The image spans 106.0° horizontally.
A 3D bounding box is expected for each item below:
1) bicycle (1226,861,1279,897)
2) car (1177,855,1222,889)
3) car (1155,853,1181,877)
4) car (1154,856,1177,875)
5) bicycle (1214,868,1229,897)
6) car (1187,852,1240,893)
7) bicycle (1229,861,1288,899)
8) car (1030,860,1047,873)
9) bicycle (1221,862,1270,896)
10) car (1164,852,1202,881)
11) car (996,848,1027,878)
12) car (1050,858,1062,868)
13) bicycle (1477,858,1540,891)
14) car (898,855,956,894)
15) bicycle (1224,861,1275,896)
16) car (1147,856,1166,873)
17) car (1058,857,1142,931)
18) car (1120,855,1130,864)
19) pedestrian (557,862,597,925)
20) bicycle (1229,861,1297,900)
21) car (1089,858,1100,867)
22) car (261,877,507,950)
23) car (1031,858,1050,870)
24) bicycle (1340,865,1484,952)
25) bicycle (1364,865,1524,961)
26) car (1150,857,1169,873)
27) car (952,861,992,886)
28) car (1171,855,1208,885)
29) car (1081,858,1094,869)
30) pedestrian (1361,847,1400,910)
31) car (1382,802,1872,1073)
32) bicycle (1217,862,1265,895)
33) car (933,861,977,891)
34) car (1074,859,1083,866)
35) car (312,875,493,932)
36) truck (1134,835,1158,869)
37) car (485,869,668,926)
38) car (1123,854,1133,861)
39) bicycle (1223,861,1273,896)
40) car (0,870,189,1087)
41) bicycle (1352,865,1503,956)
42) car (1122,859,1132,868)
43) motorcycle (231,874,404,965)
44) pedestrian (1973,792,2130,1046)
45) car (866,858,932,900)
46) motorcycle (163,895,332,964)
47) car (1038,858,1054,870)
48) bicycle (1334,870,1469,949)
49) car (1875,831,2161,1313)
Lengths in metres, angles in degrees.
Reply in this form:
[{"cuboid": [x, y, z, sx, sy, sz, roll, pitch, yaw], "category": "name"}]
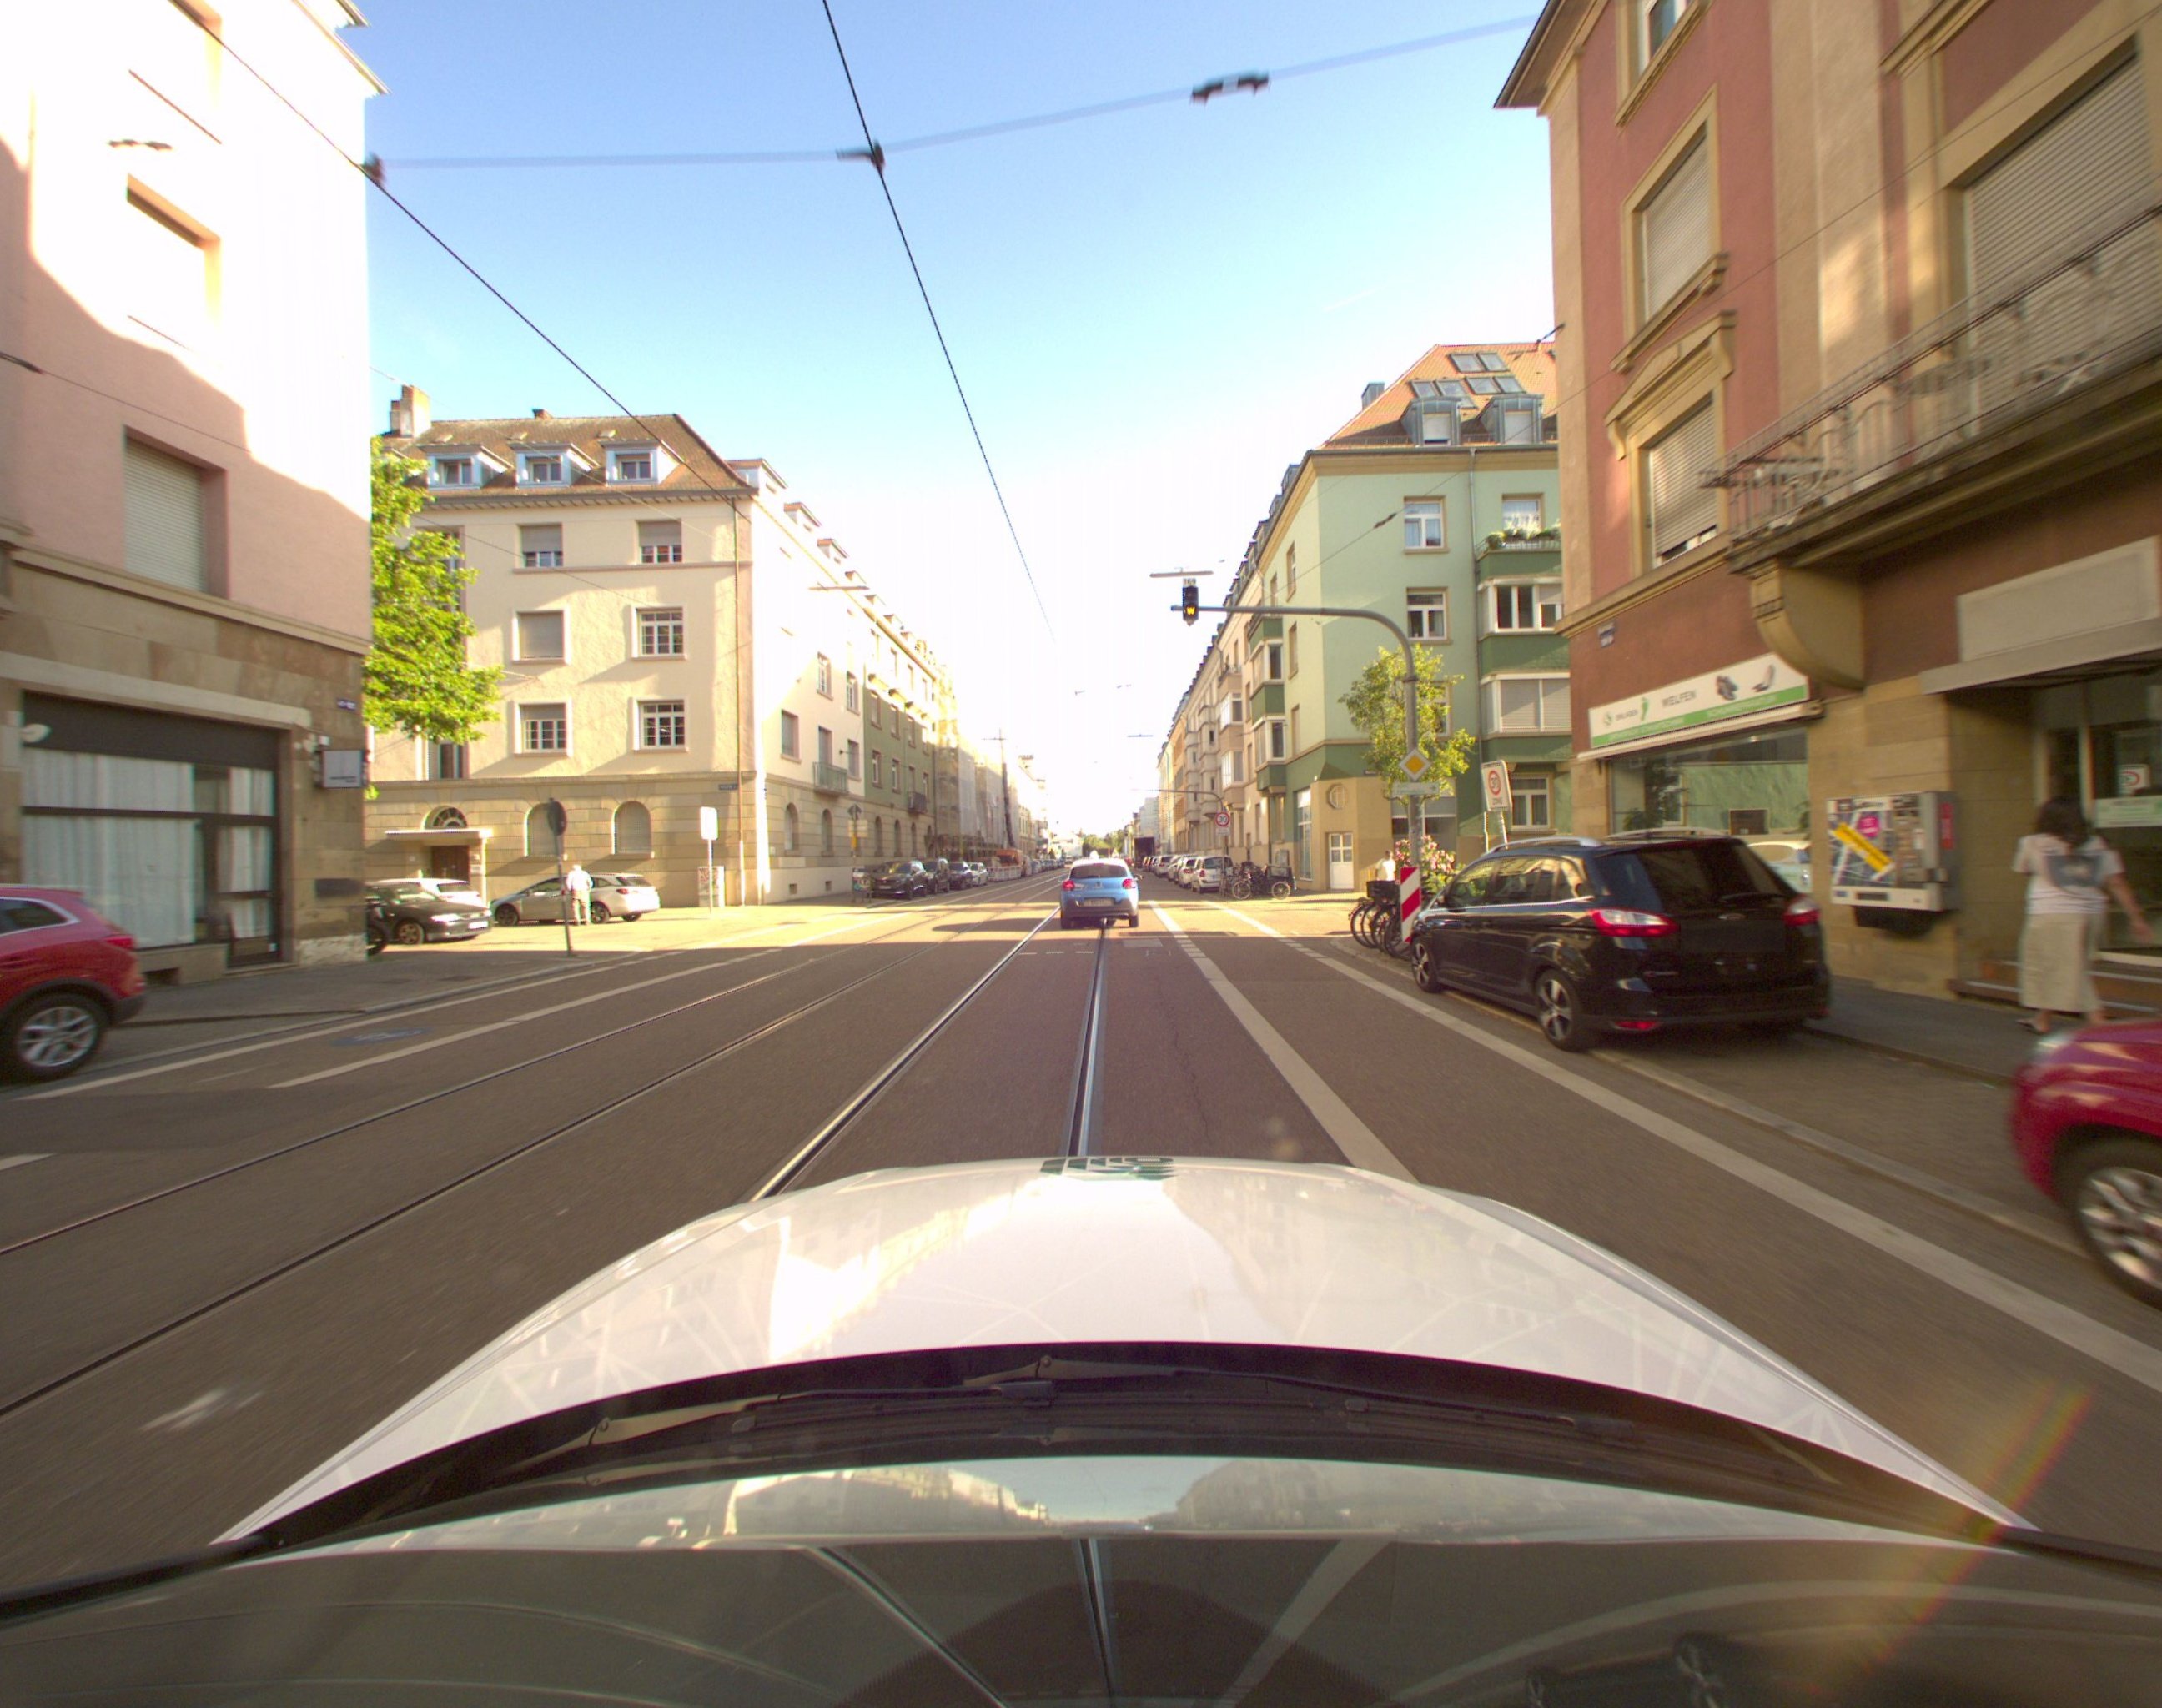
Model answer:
[{"cuboid": [6.162, 0.894, 29.276, 1.716, 1.154, 0.469, -5, -1, 2], "category": "bicycle"}, {"cuboid": [5.854, 0.854, 40.802, 1.776, 1.576, 4.329, -2, 0, 2], "category": "car"}, {"cuboid": [6.848, 0.841, 64.165, 1.723, 1.827, 4.689, -2, 0, 3], "category": "car"}, {"cuboid": [7.236, 0.965, 69.939, 1.715, 1.487, 4.224, -2, 0, 3], "category": "car"}, {"cuboid": [5.216, 1.044, 30.331, 0.351, 1.044, 1.730, -1, 0, 4], "category": "bicycle"}, {"cuboid": [5.667, 0.751, 35.202, 1.776, 1.632, 4.002, -2, 0, 2], "category": "car"}, {"cuboid": [6.096, 0.897, 28.039, 1.835, 1.154, 0.469, -5, -1, 2], "category": "bicycle"}, {"cuboid": [-5.359, 1.570, 103.283, 1.707, 1.594, 4.269, -2, 0, 3], "category": "car"}, {"cuboid": [6.280, 0.935, 31.123, 1.716, 1.154, 0.469, -5, -1, 2], "category": "bicycle"}, {"cuboid": [6.477, 0.791, 52.023, 1.650, 1.752, 4.599, -2, 0, -2], "category": "car"}, {"cuboid": [-5.940, 0.749, 70.111, 2.137, 2.475, 4.979, -2, 0, 0], "category": "car"}, {"cuboid": [-4.199, 1.540, 137.063, 1.819, 1.632, 3.907, -2, 0, 2], "category": "car"}, {"cuboid": [14.478, 0.698, 27.605, 1.889, 1.063, 0.455, -1, 0, -1], "category": "bicycle"}, {"cuboid": [-7.701, 0.979, 41.180, 1.776, 1.816, 4.532, 1, 0, 3], "category": "car"}, {"cuboid": [6.167, 0.896, 29.824, 1.716, 1.154, 0.469, -5, -1, 2], "category": "bicycle"}, {"cuboid": [7.794, 1.079, 84.388, 1.657, 1.647, 4.224, -2, 0, 3], "category": "car"}, {"cuboid": [0.488, 0.834, 18.869, 1.728, 1.507, 3.995, 1, 0, 2], "category": "car"}, {"cuboid": [10.709, 1.318, 198.568, 2.211, 2.284, 4.086, -2, 0, 2], "category": "car"}, {"cuboid": [-13.912, 1.079, 22.479, 0.604, 1.712, 0.732, -1, 0, 2], "category": "pedestrian"}, {"cuboid": [6.089, 0.882, 27.331, 2.078, 1.154, 0.849, -4, 0, 2], "category": "bicycle"}, {"cuboid": [2.508, 1.564, 148.058, 1.894, 1.632, 4.269, -2, 0, 2], "category": "car"}, {"cuboid": [-15.569, 1.300, 18.339, 3.972, 1.394, 1.748, -1, 1, 1], "category": "car"}, {"cuboid": [-5.498, 1.358, 111.230, 2.136, 1.621, 4.002, -2, 0, 2], "category": "car"}, {"cuboid": [5.068, 0.823, 12.532, 1.951, 1.227, 0.527, -3, -1, 2], "category": "bicycle"}, {"cuboid": [5.047, 0.814, 11.399, 1.951, 1.227, 0.527, -3, -1, 2], "category": "bicycle"}, {"cuboid": [7.656, 1.073, 79.543, 1.657, 1.519, 4.224, -2, 0, 3], "category": "car"}, {"cuboid": [-7.083, 1.227, 53.151, 1.710, 1.502, 4.392, 1, 0, 4], "category": "car"}, {"cuboid": [6.115, 0.896, 46.273, 1.648, 1.566, 4.341, -2, 0, 3], "category": "car"}, {"cuboid": [1.020, 1.520, 130.515, 1.818, 1.632, 4.493, -2, 0, 3], "category": "car"}, {"cuboid": [8.013, 0.655, 21.815, 0.730, 1.633, 0.700, 1, -2, -14], "category": "pedestrian"}, {"cuboid": [4.576, 0.585, 7.856, 1.746, 1.735, 4.509, -4, 0, 3], "category": "car"}, {"cuboid": [6.241, 0.943, 31.752, 1.716, 1.154, 0.469, -5, -1, 2], "category": "bicycle"}, {"cuboid": [-7.230, 1.229, 47.057, 1.777, 1.627, 4.608, 1, 0, 0], "category": "car"}, {"cuboid": [-0.647, 1.962, 193.199, 1.894, 1.632, 4.269, -2, 0, 2], "category": "car"}, {"cuboid": [-20.073, 1.445, 24.212, 3.782, 1.465, 1.842, -1, 1, 1], "category": "car"}, {"cuboid": [8.386, -0.179, 106.123, 2.841, 4.083, 11.280, -2, 0, 3], "category": "truck"}, {"cuboid": [-14.685, 1.247, 23.852, 4.202, 1.465, 1.783, -1, 1, 1], "category": "car"}, {"cuboid": [10.773, 0.874, 185.070, 2.172, 1.487, 4.162, -2, 0, 2], "category": "car"}, {"cuboid": [6.235, 0.916, 30.503, 1.716, 1.154, 0.469, -5, -1, 2], "category": "bicycle"}, {"cuboid": [-9.079, 0.952, 5.241, 1.777, 1.606, 4.397, 1, 0, 0], "category": "car"}, {"cuboid": [5.064, 0.818, 11.970, 1.951, 1.227, 0.527, -3, -1, 2], "category": "bicycle"}, {"cuboid": [7.879, 1.585, 139.443, 1.758, 1.487, 4.034, -2, 0, 2], "category": "car"}, {"cuboid": [-13.386, 1.089, 14.344, 0.938, 1.418, 2.038, -2, 0, 32], "category": "motorcycle"}, {"cuboid": [6.727, 0.437, 5.664, 0.511, 1.687, 0.448, -1, 0, 1], "category": "pedestrian"}, {"cuboid": [-7.900, 1.020, 35.774, 1.777, 1.690, 4.667, 1, 0, 0], "category": "car"}, {"cuboid": [-14.636, 1.292, 14.389, 2.047, 1.035, 0.550, -1, 0, -42], "category": "motorcycle"}, {"cuboid": [-4.972, 1.437, 116.994, 1.818, 1.632, 4.851, -2, 0, 3], "category": "car"}, {"cuboid": [5.129, 0.882, 13.110, 1.916, 1.161, 0.527, -3, -1, 2], "category": "bicycle"}, {"cuboid": [4.379, 0.700, 1.787, 1.746, 1.594, 3.733, -1, 0, 3], "category": "car"}]
